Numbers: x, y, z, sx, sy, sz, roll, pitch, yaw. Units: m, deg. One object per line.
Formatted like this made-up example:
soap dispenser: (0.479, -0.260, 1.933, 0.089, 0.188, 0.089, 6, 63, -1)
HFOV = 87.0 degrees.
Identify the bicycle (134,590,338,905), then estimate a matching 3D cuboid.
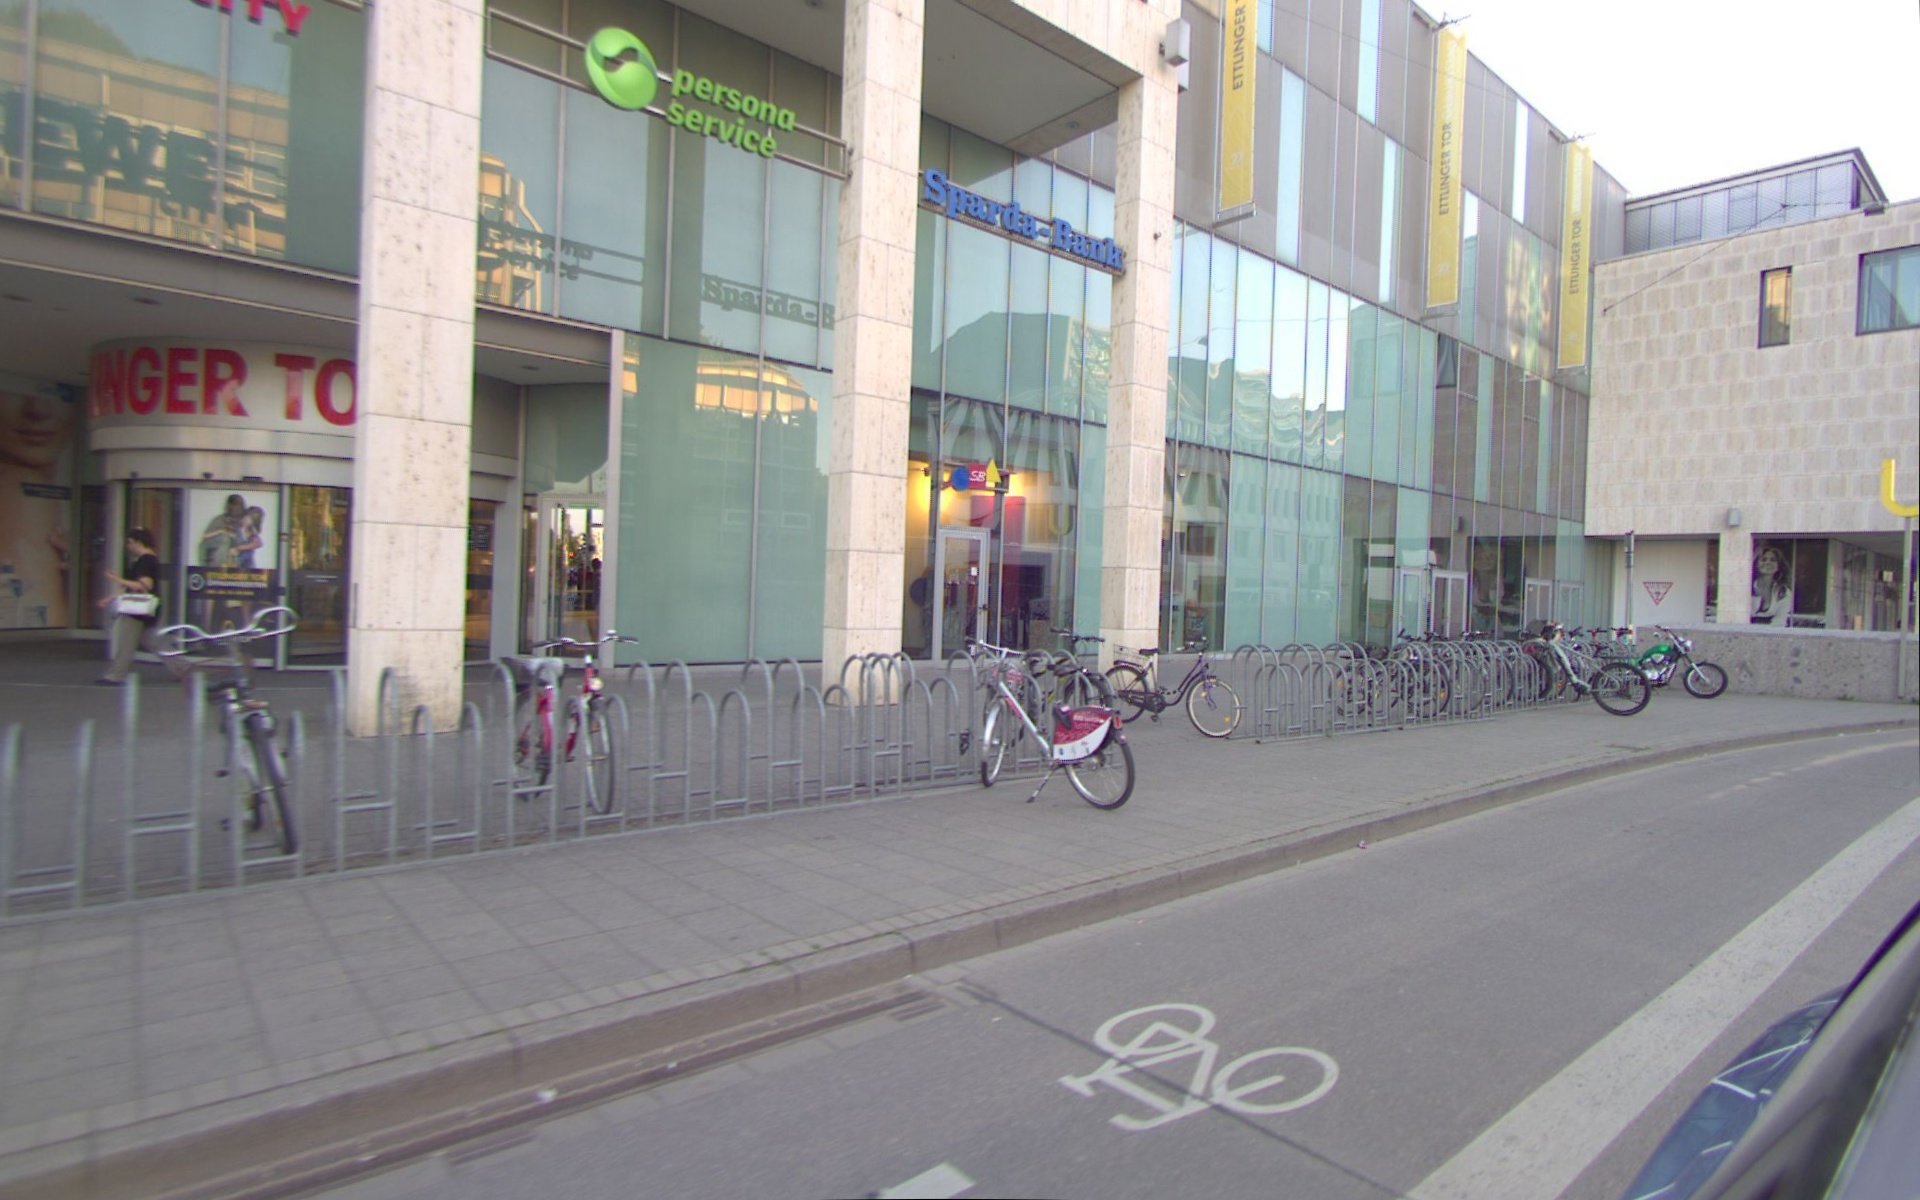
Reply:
bicycle: (-3.796, 0.628, 5.237, 0.662, 1.275, 1.871, 1, 1, -41)

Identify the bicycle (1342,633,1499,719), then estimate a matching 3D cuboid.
bicycle: (6.035, 0.968, 13.356, 0.507, 0.948, 1.811, 1, 1, -41)

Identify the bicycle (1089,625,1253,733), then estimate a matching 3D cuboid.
bicycle: (2.350, 0.849, 11.397, 1.700, 1.036, 0.592, 3, 1, 40)

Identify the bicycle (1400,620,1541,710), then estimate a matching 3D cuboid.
bicycle: (7.404, 0.917, 14.748, 0.507, 1.143, 1.770, 2, 1, -37)

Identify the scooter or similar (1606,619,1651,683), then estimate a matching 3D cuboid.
scooter or similar: (13.823, 1.050, 20.927, 0.851, 1.273, 0.399, 1, 0, -29)

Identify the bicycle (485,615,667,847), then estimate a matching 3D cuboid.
bicycle: (-2.467, 0.723, 6.364, 0.560, 1.127, 1.878, 2, 2, -36)

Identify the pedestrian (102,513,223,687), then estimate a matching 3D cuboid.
pedestrian: (-8.755, -0.014, 11.107, 0.973, 1.798, 0.862, 2, 2, -41)

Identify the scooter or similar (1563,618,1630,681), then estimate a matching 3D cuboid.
scooter or similar: (13.458, 1.043, 21.417, 1.099, 1.273, 0.397, 2, 0, 12)

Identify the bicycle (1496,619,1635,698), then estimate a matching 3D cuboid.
bicycle: (10.374, 0.970, 17.427, 0.506, 1.193, 1.995, 2, 1, -35)

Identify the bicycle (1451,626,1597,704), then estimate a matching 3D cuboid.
bicycle: (8.936, 0.992, 16.127, 0.545, 1.144, 1.994, 2, -2, -35)

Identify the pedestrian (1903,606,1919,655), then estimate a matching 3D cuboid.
pedestrian: (31.830, 1.034, 33.624, 0.761, 1.587, 0.635, 4, -1, -41)

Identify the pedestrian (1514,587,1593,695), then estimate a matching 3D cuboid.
pedestrian: (10.122, 0.682, 17.271, 0.803, 1.757, 0.839, 2, 1, -33)

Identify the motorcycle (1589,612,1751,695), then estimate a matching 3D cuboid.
motorcycle: (13.135, 0.950, 18.791, 0.892, 1.350, 2.302, 1, 1, -42)

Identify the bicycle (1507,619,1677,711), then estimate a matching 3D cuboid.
bicycle: (9.062, 0.896, 14.606, 0.559, 1.143, 1.995, 2, 1, -35)

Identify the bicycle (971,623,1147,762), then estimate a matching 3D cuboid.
bicycle: (0.842, 0.775, 9.155, 0.589, 1.114, 1.823, 2, -2, -32)

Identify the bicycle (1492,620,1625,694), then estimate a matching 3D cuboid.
bicycle: (10.622, 0.989, 18.036, 0.506, 1.143, 1.995, 2, 1, -35)

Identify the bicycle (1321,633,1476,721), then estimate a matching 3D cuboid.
bicycle: (5.568, 0.950, 12.939, 0.507, 0.948, 1.741, 1, 1, -41)

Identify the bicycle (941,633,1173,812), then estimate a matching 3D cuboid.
bicycle: (0.625, 0.795, 7.265, 0.559, 1.061, 1.904, 2, -1, -35)
